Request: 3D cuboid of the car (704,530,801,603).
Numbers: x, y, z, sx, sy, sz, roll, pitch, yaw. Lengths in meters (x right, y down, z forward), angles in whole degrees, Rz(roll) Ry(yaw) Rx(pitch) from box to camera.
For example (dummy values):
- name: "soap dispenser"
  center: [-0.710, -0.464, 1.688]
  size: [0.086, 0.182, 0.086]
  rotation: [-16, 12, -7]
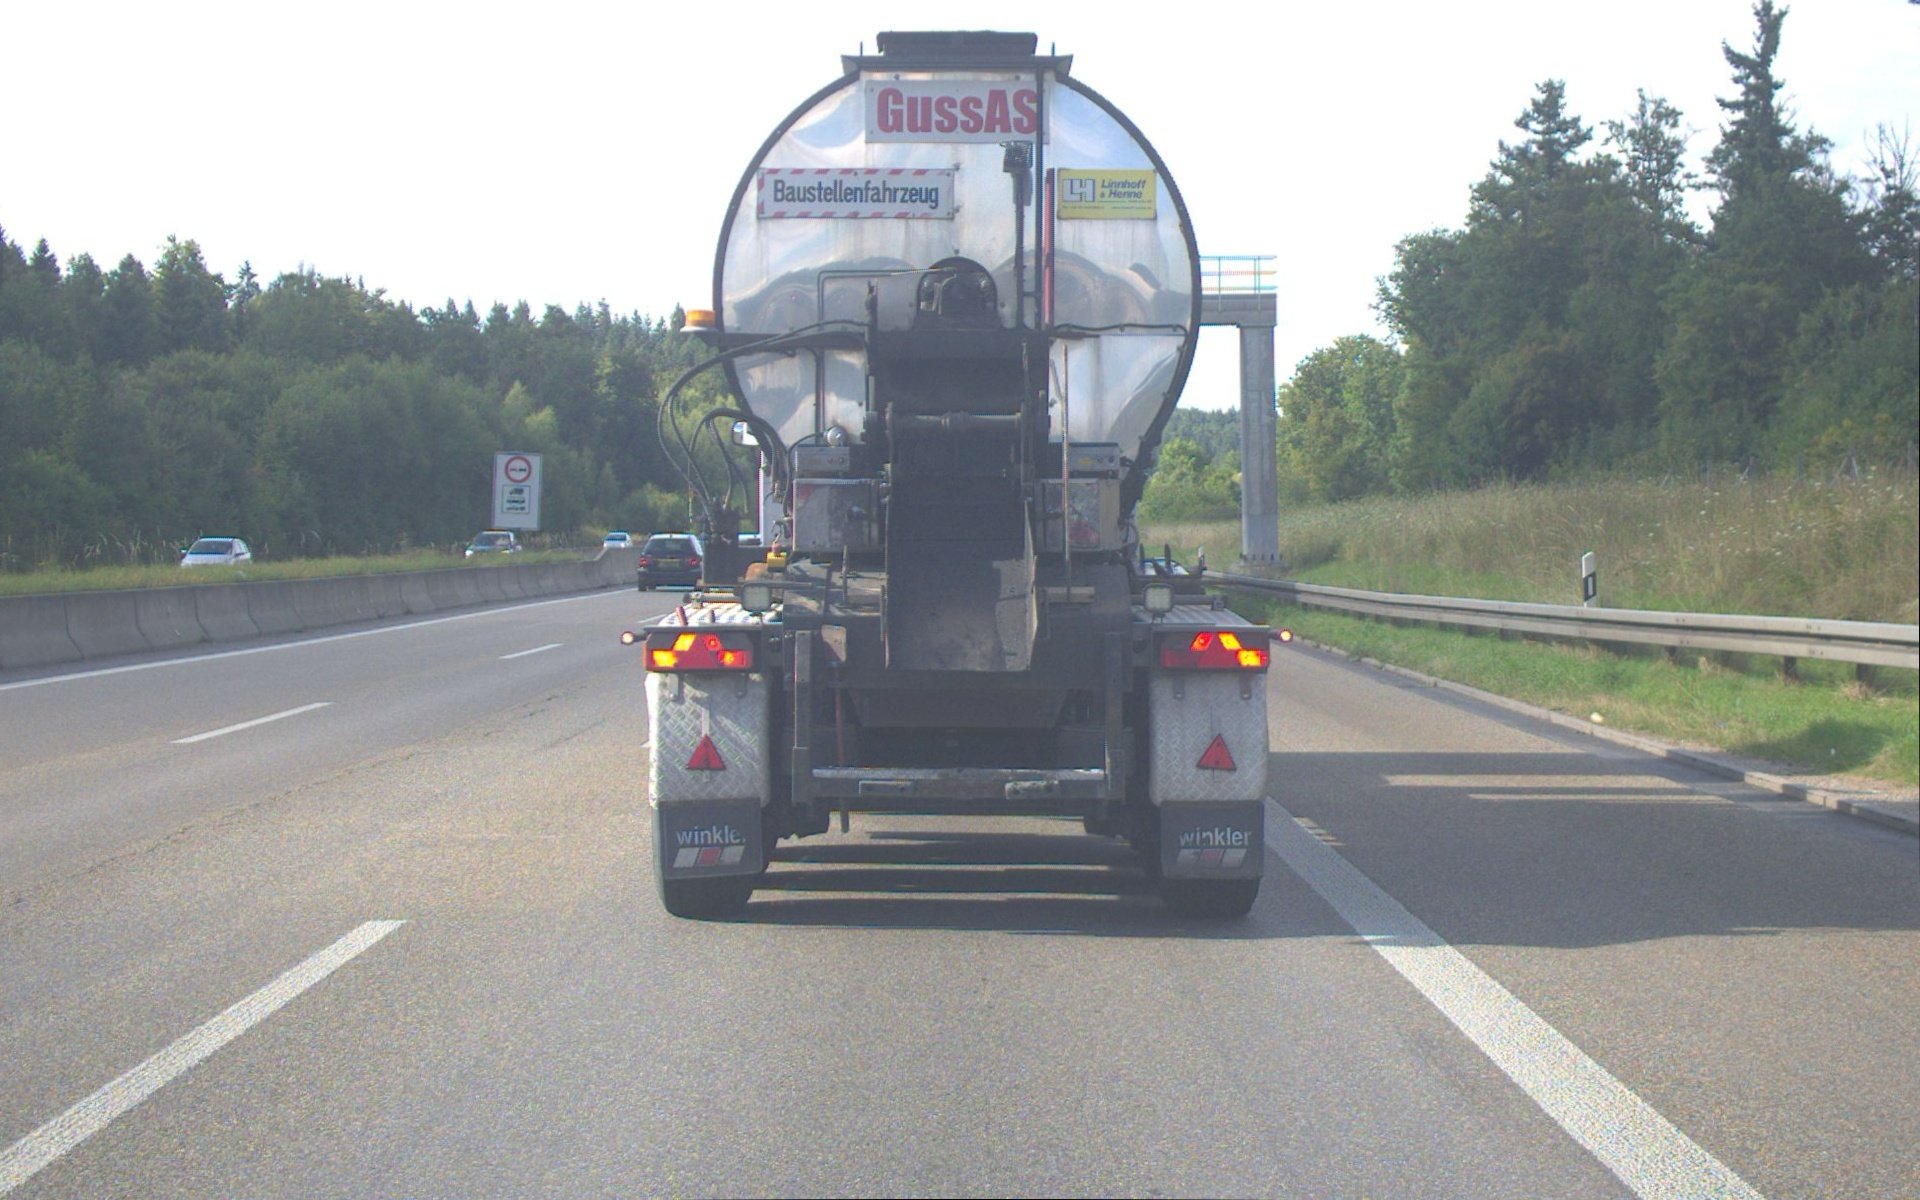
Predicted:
- name: "car"
  center: [-4.438, -0.747, 74.145]
  size: [1.835, 1.512, 4.333]
  rotation: [0, 1, 0]

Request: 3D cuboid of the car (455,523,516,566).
- name: "car"
  center: [-19.124, -2.255, 138.788]
  size: [1.906, 1.711, 4.000]
  rotation: [0, 1, 0]

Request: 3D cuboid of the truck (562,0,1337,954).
- name: "truck"
  center: [-0.030, -0.848, 18.650]
  size: [2.912, 4.143, 11.270]
  rotation: [0, 1, 0]

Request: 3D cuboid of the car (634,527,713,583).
- name: "car"
  center: [-7.955, -1.260, 95.648]
  size: [1.835, 1.512, 4.333]
  rotation: [0, 1, 0]

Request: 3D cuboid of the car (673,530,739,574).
- name: "car"
  center: [-8.530, -1.633, 115.886]
  size: [1.856, 1.426, 4.841]
  rotation: [0, 1, 0]

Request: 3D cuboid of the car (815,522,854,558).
- name: "car"
  center: [-6.178, -2.958, 169.749]
  size: [1.845, 1.777, 4.000]
  rotation: [0, 1, -1]

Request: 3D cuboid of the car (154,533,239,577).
- name: "car"
  center: [-23.330, -1.388, 105.110]
  size: [1.816, 1.286, 3.544]
  rotation: [0, 1, 0]

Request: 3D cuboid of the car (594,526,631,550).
- name: "car"
  center: [-22.374, -4.019, 221.631]
  size: [1.950, 1.534, 4.327]
  rotation: [0, 1, 0]
